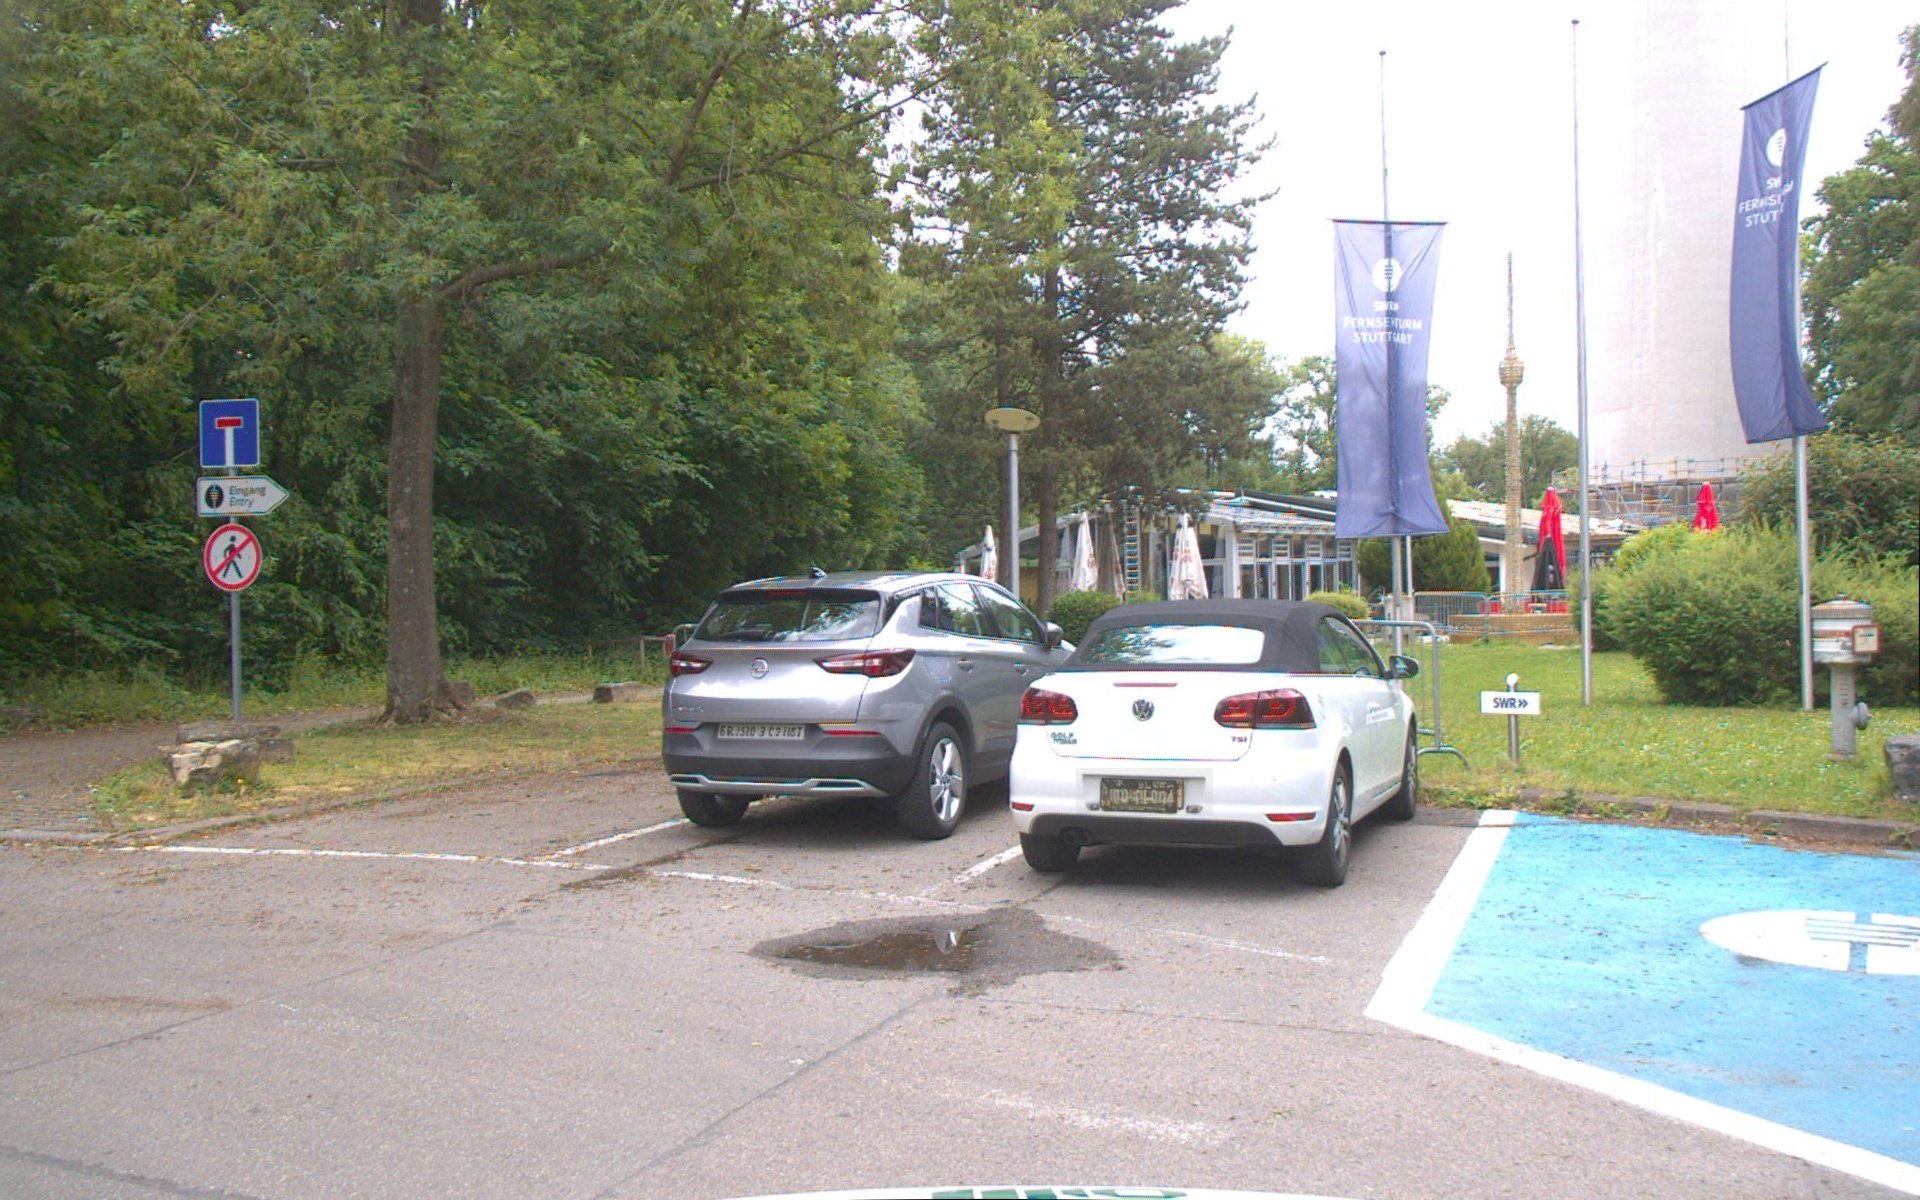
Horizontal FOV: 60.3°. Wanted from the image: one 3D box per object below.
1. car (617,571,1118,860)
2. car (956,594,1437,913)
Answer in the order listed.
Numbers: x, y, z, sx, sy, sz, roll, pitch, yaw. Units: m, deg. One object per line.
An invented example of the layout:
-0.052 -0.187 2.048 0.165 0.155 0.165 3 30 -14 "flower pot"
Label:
-0.419 0.636 11.425 1.855 1.612 3.999 -1 0 23 "car"
1.617 0.709 9.831 1.855 1.453 3.999 -1 0 23 "car"
